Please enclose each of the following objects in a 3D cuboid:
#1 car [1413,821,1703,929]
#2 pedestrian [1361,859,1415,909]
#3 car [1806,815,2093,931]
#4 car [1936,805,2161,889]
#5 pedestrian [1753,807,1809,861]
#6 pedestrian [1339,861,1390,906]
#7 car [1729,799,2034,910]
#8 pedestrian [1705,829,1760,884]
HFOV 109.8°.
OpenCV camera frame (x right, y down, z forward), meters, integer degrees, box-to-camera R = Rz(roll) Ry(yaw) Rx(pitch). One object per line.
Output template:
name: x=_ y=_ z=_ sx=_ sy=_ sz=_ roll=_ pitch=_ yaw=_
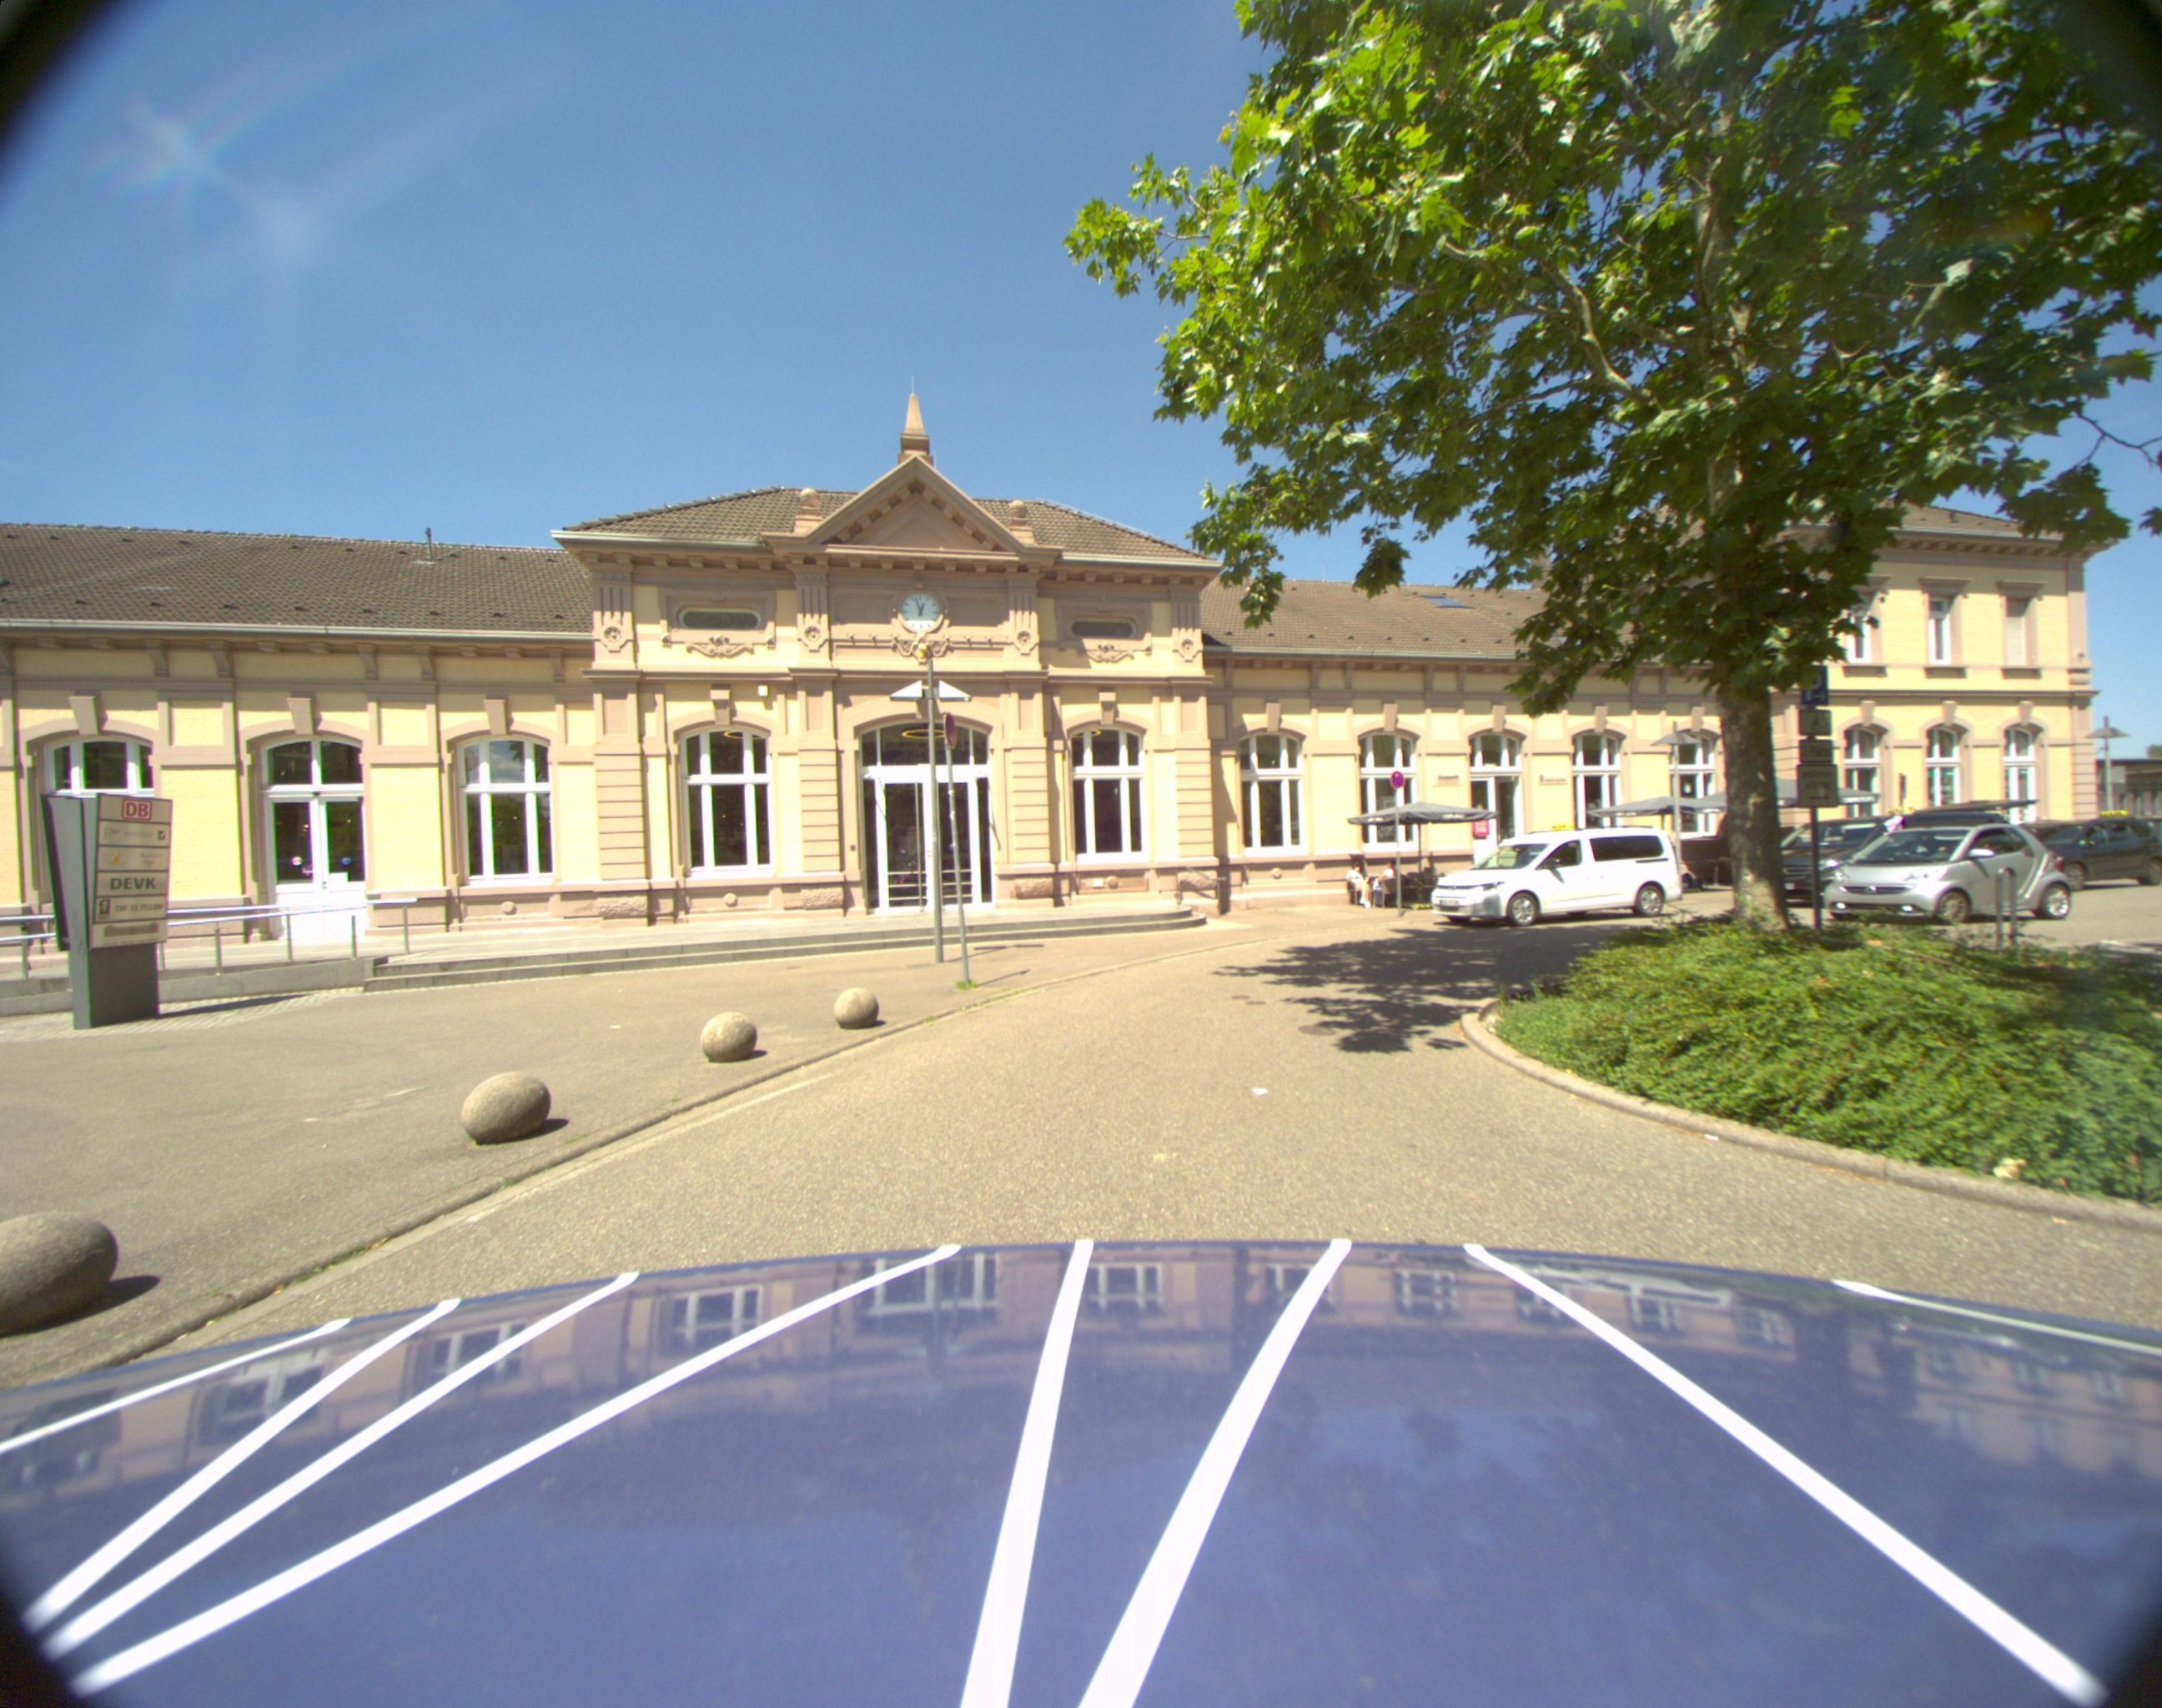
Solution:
car: x=9.469 y=0.374 z=15.163 sx=5.141 sy=1.854 sz=1.813 roll=-2 pitch=-1 yaw=-14
pedestrian: x=7.570 y=0.723 z=18.769 sx=0.852 sy=1.155 sz=0.880 roll=-2 pitch=2 yaw=-16
car: x=13.732 y=0.268 z=12.101 sx=3.106 sy=1.584 sz=1.600 roll=-2 pitch=0 yaw=-9
car: x=23.546 y=-0.173 z=18.285 sx=4.843 sy=1.829 sz=2.078 roll=-2 pitch=-1 yaw=-17
pedestrian: x=20.516 y=-0.584 z=22.272 sx=0.852 sy=1.535 sz=0.880 roll=-2 pitch=2 yaw=-16
pedestrian: x=7.330 y=0.747 z=19.679 sx=0.852 sy=1.074 sz=0.880 roll=-2 pitch=2 yaw=-16
car: x=17.187 y=-0.026 z=16.346 sx=5.829 sy=2.111 sz=2.091 roll=-2 pitch=-1 yaw=-17
pedestrian: x=18.857 y=0.061 z=22.004 sx=0.852 sy=1.535 sz=0.880 roll=-2 pitch=2 yaw=-16
